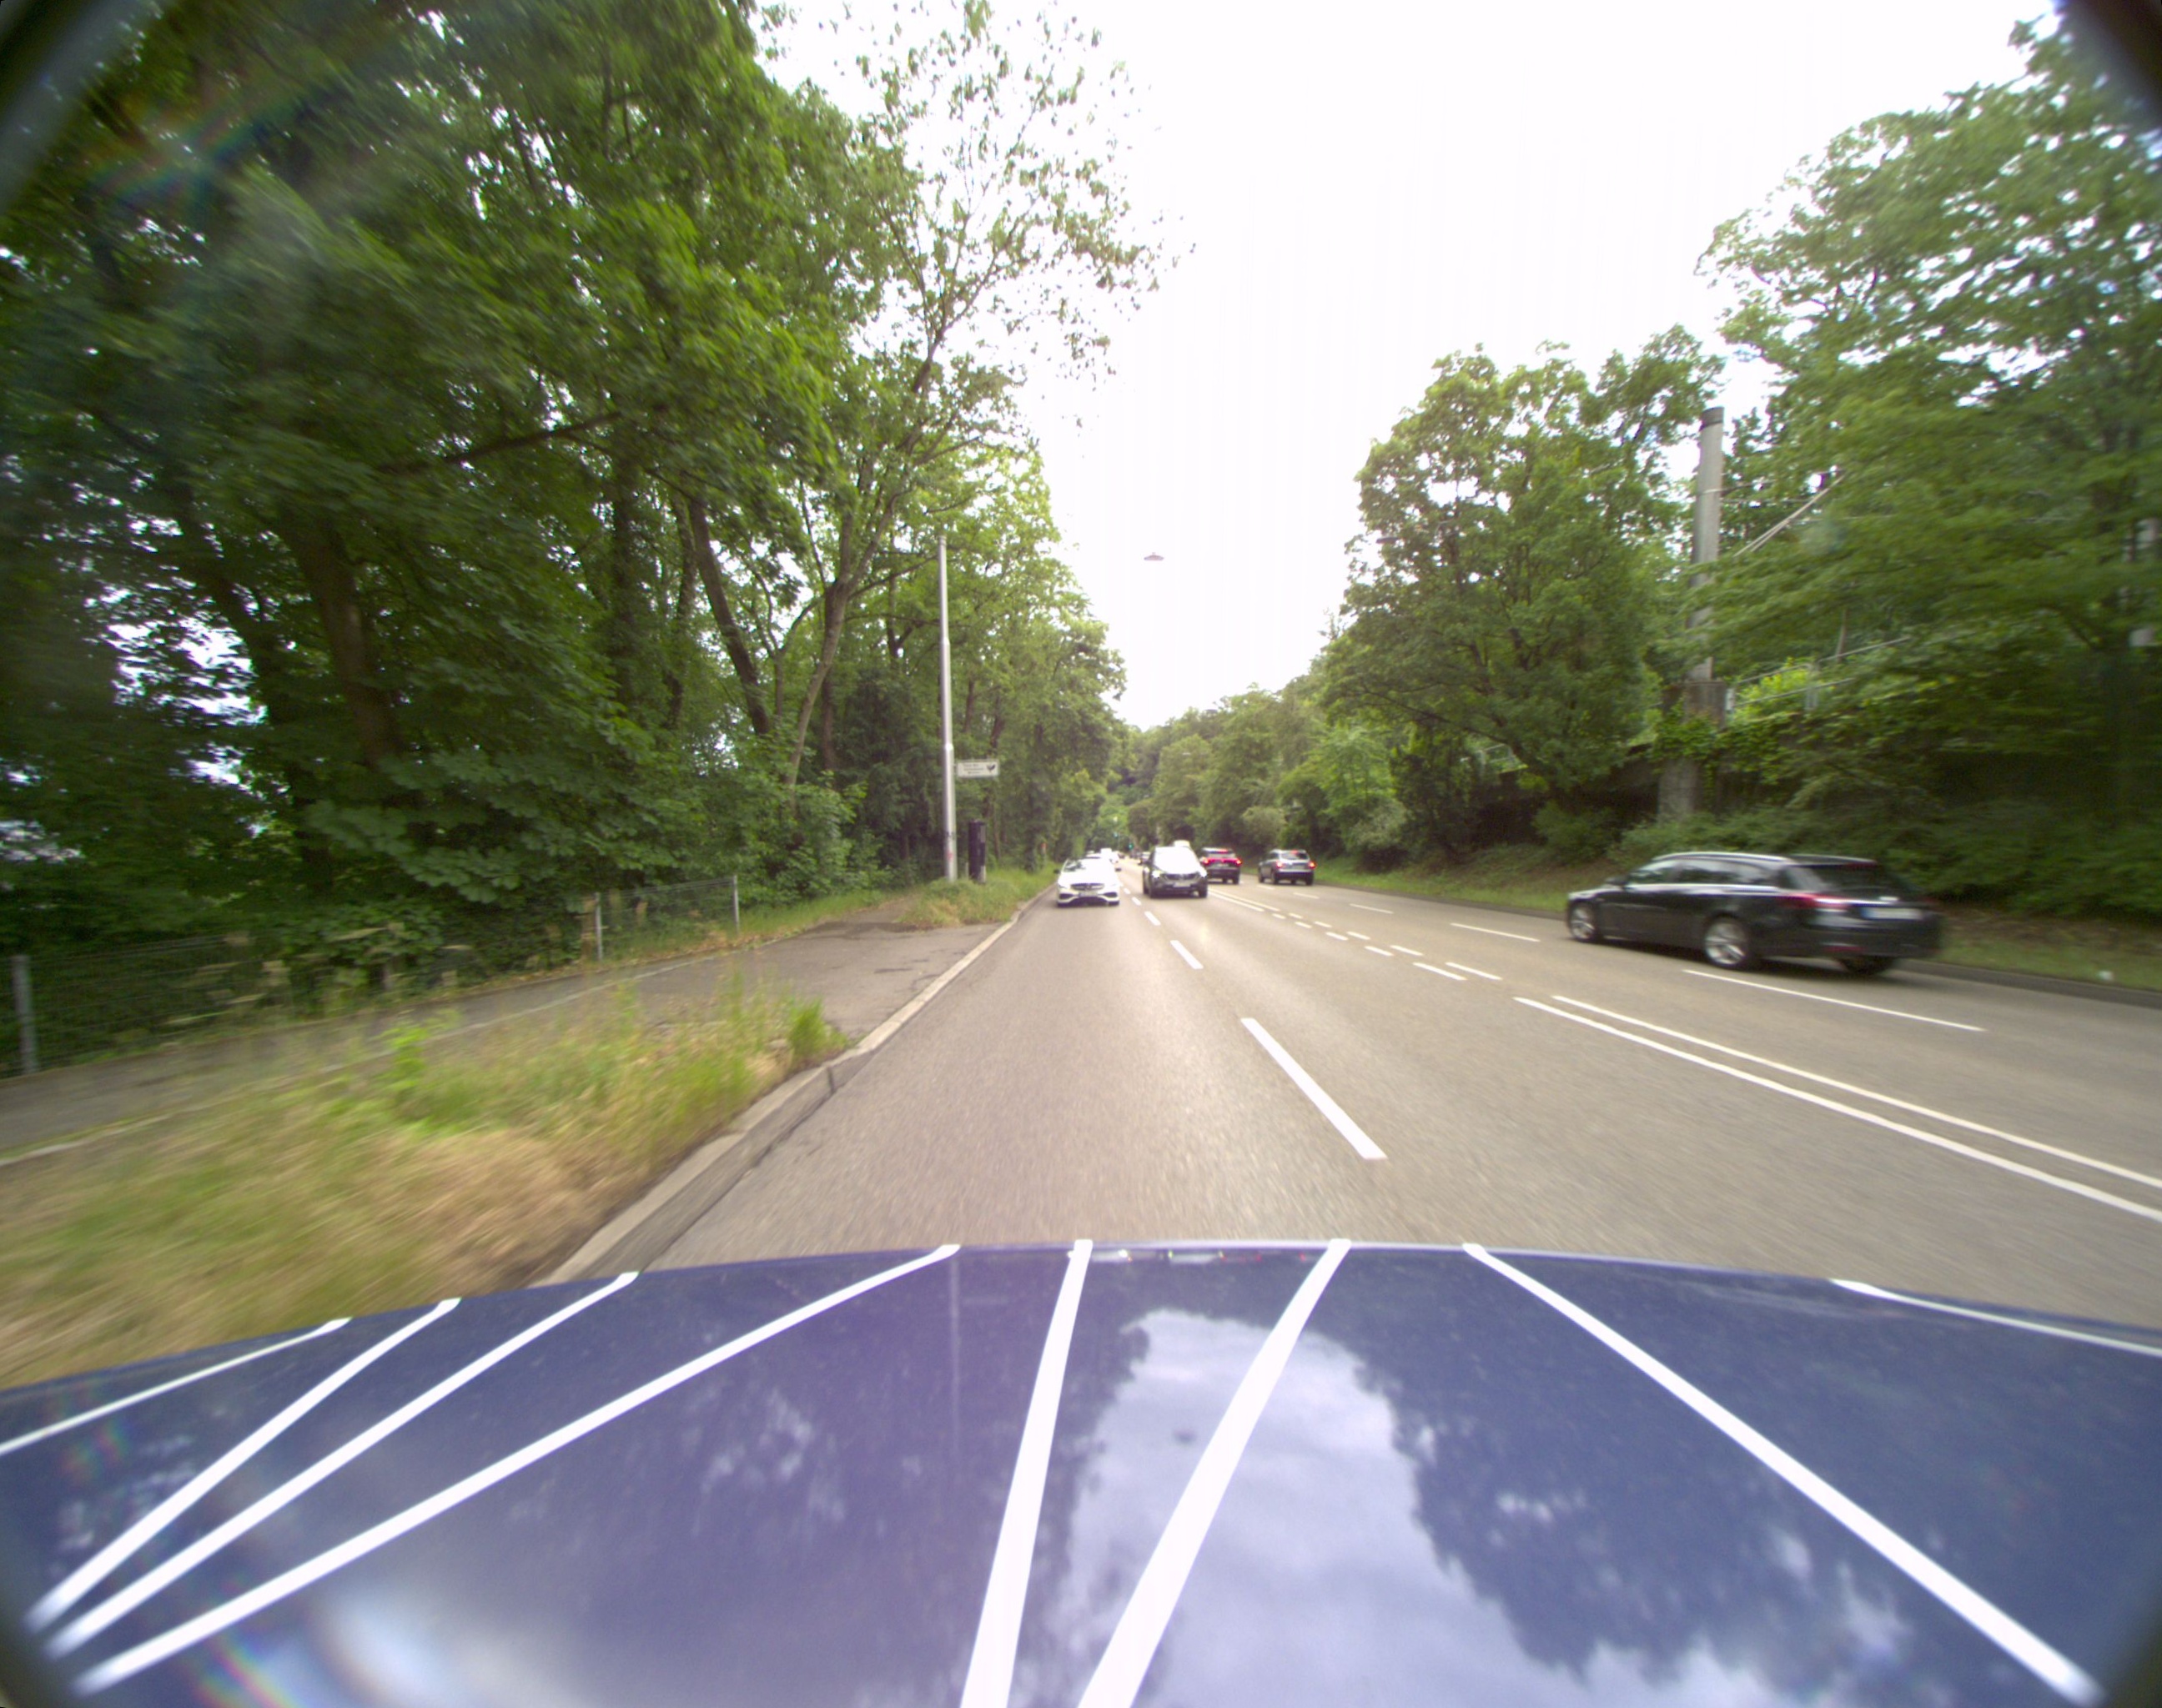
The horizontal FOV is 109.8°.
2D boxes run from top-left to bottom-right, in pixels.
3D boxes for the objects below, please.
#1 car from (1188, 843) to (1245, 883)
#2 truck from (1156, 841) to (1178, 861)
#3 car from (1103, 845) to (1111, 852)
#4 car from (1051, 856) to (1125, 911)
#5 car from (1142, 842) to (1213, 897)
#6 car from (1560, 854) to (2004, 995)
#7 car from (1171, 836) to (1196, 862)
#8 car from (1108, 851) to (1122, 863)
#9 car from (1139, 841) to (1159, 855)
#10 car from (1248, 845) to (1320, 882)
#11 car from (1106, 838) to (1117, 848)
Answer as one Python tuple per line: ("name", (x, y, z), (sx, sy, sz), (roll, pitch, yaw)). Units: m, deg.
("car", (6.302, 0.373, 35.864), (1.814, 1.653, 4.828), (0, 2, 0))
("truck", (10.640, -0.419, 94.590), (2.182, 2.397, 6.465), (2, 1, 2))
("car", (5.335, -1.150, 155.892), (1.736, 1.502, 4.433), (1, 1, 1))
("car", (0.213, 0.811, 22.768), (1.897, 1.289, 4.327), (-5, 1, 1))
("car", (3.122, 0.445, 25.458), (1.871, 1.653, 4.192), (1, 1, 1))
("car", (8.878, 0.746, 10.353), (1.918, 1.459, 4.529), (1, 0, 1))
("car", (10.491, -0.548, 77.911), (1.891, 2.541, 4.914), (1, 1, 1))
("car", (4.737, 0.459, 105.917), (1.698, 1.573, 3.999), (-2, 1, -1))
("car", (7.398, -0.672, 82.994), (1.843, 1.457, 4.465), (-2, 1, 1))
("car", (9.358, 0.406, 35.407), (1.797, 1.602, 4.186), (1, 1, -6))
("car", (6.542, -2.345, 162.715), (1.691, 1.452, 4.000), (-34, 0, 1))
